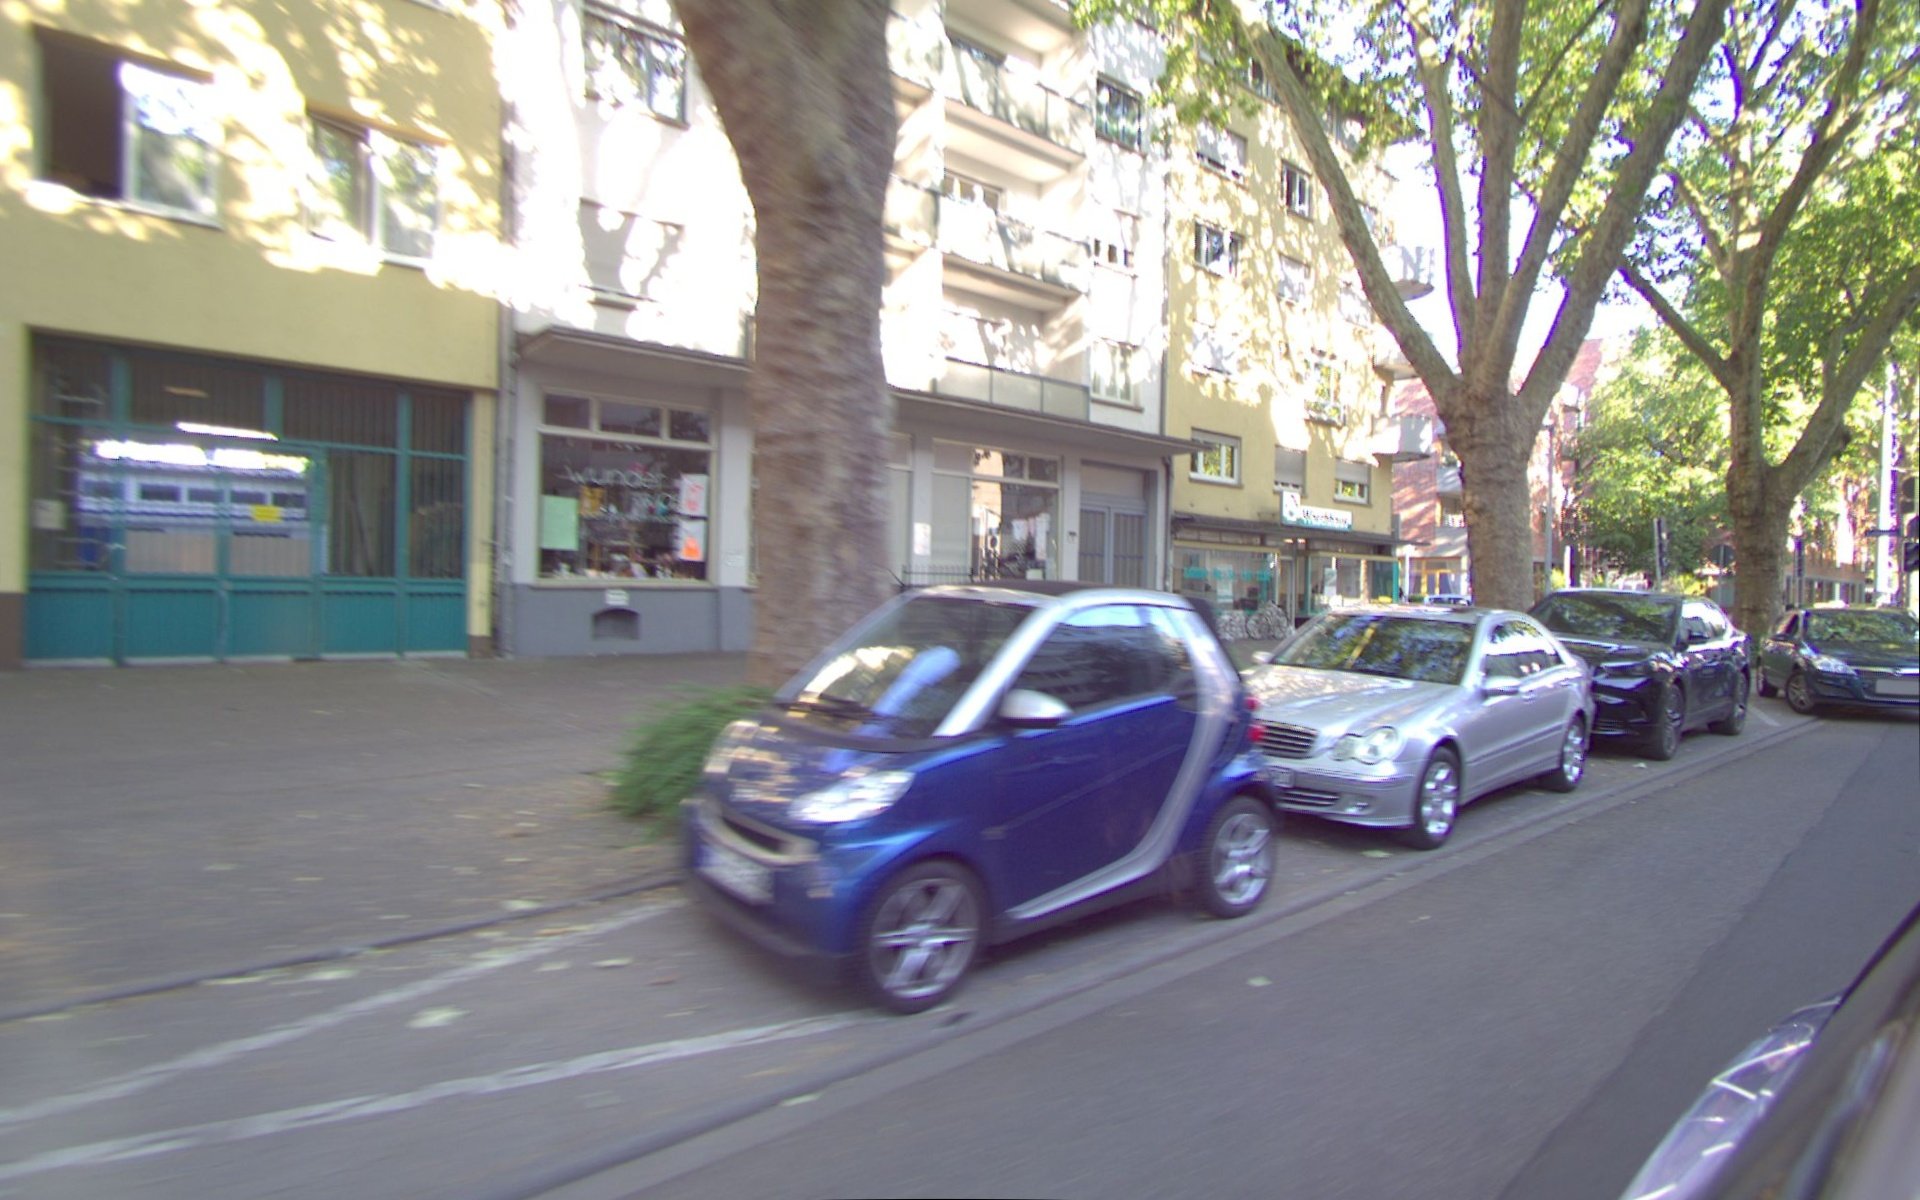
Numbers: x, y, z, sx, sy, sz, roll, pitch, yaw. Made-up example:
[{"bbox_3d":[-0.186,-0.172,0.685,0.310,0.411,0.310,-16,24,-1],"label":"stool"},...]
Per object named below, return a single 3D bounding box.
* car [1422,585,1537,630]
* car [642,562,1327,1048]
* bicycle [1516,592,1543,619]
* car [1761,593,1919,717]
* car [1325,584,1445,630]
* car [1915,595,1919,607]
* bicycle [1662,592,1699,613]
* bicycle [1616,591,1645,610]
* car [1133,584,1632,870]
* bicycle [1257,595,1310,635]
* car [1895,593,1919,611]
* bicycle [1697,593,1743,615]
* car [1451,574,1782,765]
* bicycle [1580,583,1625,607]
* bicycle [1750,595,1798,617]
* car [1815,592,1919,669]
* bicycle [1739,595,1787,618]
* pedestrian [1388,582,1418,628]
[{"bbox_3d":[21.699,0.280,42.341,1.833,1.714,3.870,0,1,-40],"label":"car"},{"bbox_3d":[0.196,0.620,4.737,2.857,1.537,1.568,-1,3,-38],"label":"car"},{"bbox_3d":[25.799,0.221,45.834,1.670,1.171,0.600,0,3,-45],"label":"bicycle"},{"bbox_3d":[12.824,0.678,14.301,1.857,1.455,4.177,2,2,32],"label":"car"},{"bbox_3d":[16.535,0.264,39.520,1.832,1.572,3.870,4,-1,-40],"label":"car"},{"bbox_3d":[121.818,0.188,126.301,1.964,1.549,3.675,0,1,-39],"label":"car"},{"bbox_3d":[43.565,0.138,61.215,0.561,1.171,1.684,1,3,-34],"label":"bicycle"},{"bbox_3d":[43.018,0.027,64.965,1.997,1.171,0.709,1,2,-31],"label":"bicycle"},{"bbox_3d":[3.421,0.652,7.673,4.527,1.453,1.819,-1,3,-44],"label":"car"},{"bbox_3d":[8.577,0.379,26.832,0.571,1.009,1.752,4,3,45],"label":"bicycle"},{"bbox_3d":[84.016,0.193,89.337,3.891,1.527,1.657,0,1,-40],"label":"car"},{"bbox_3d":[44.777,0.227,59.664,0.561,1.171,2.039,1,3,-34],"label":"bicycle"},{"bbox_3d":[7.346,0.553,11.113,4.700,1.623,1.861,-1,3,-42],"label":"car"},{"bbox_3d":[33.349,-0.275,52.520,0.560,1.171,1.939,1,2,-24],"label":"bicycle"},{"bbox_3d":[46.430,0.344,57.752,0.560,1.171,2.041,1,2,-29],"label":"bicycle"},{"bbox_3d":[20.199,0.593,22.036,4.926,1.480,1.767,0,1,-42],"label":"car"},{"bbox_3d":[45.564,0.365,57.448,0.562,1.171,2.036,0,3,-39],"label":"bicycle"},{"bbox_3d":[15.218,0.168,34.779,0.677,1.558,0.703,1,1,1],"label":"pedestrian"}]
